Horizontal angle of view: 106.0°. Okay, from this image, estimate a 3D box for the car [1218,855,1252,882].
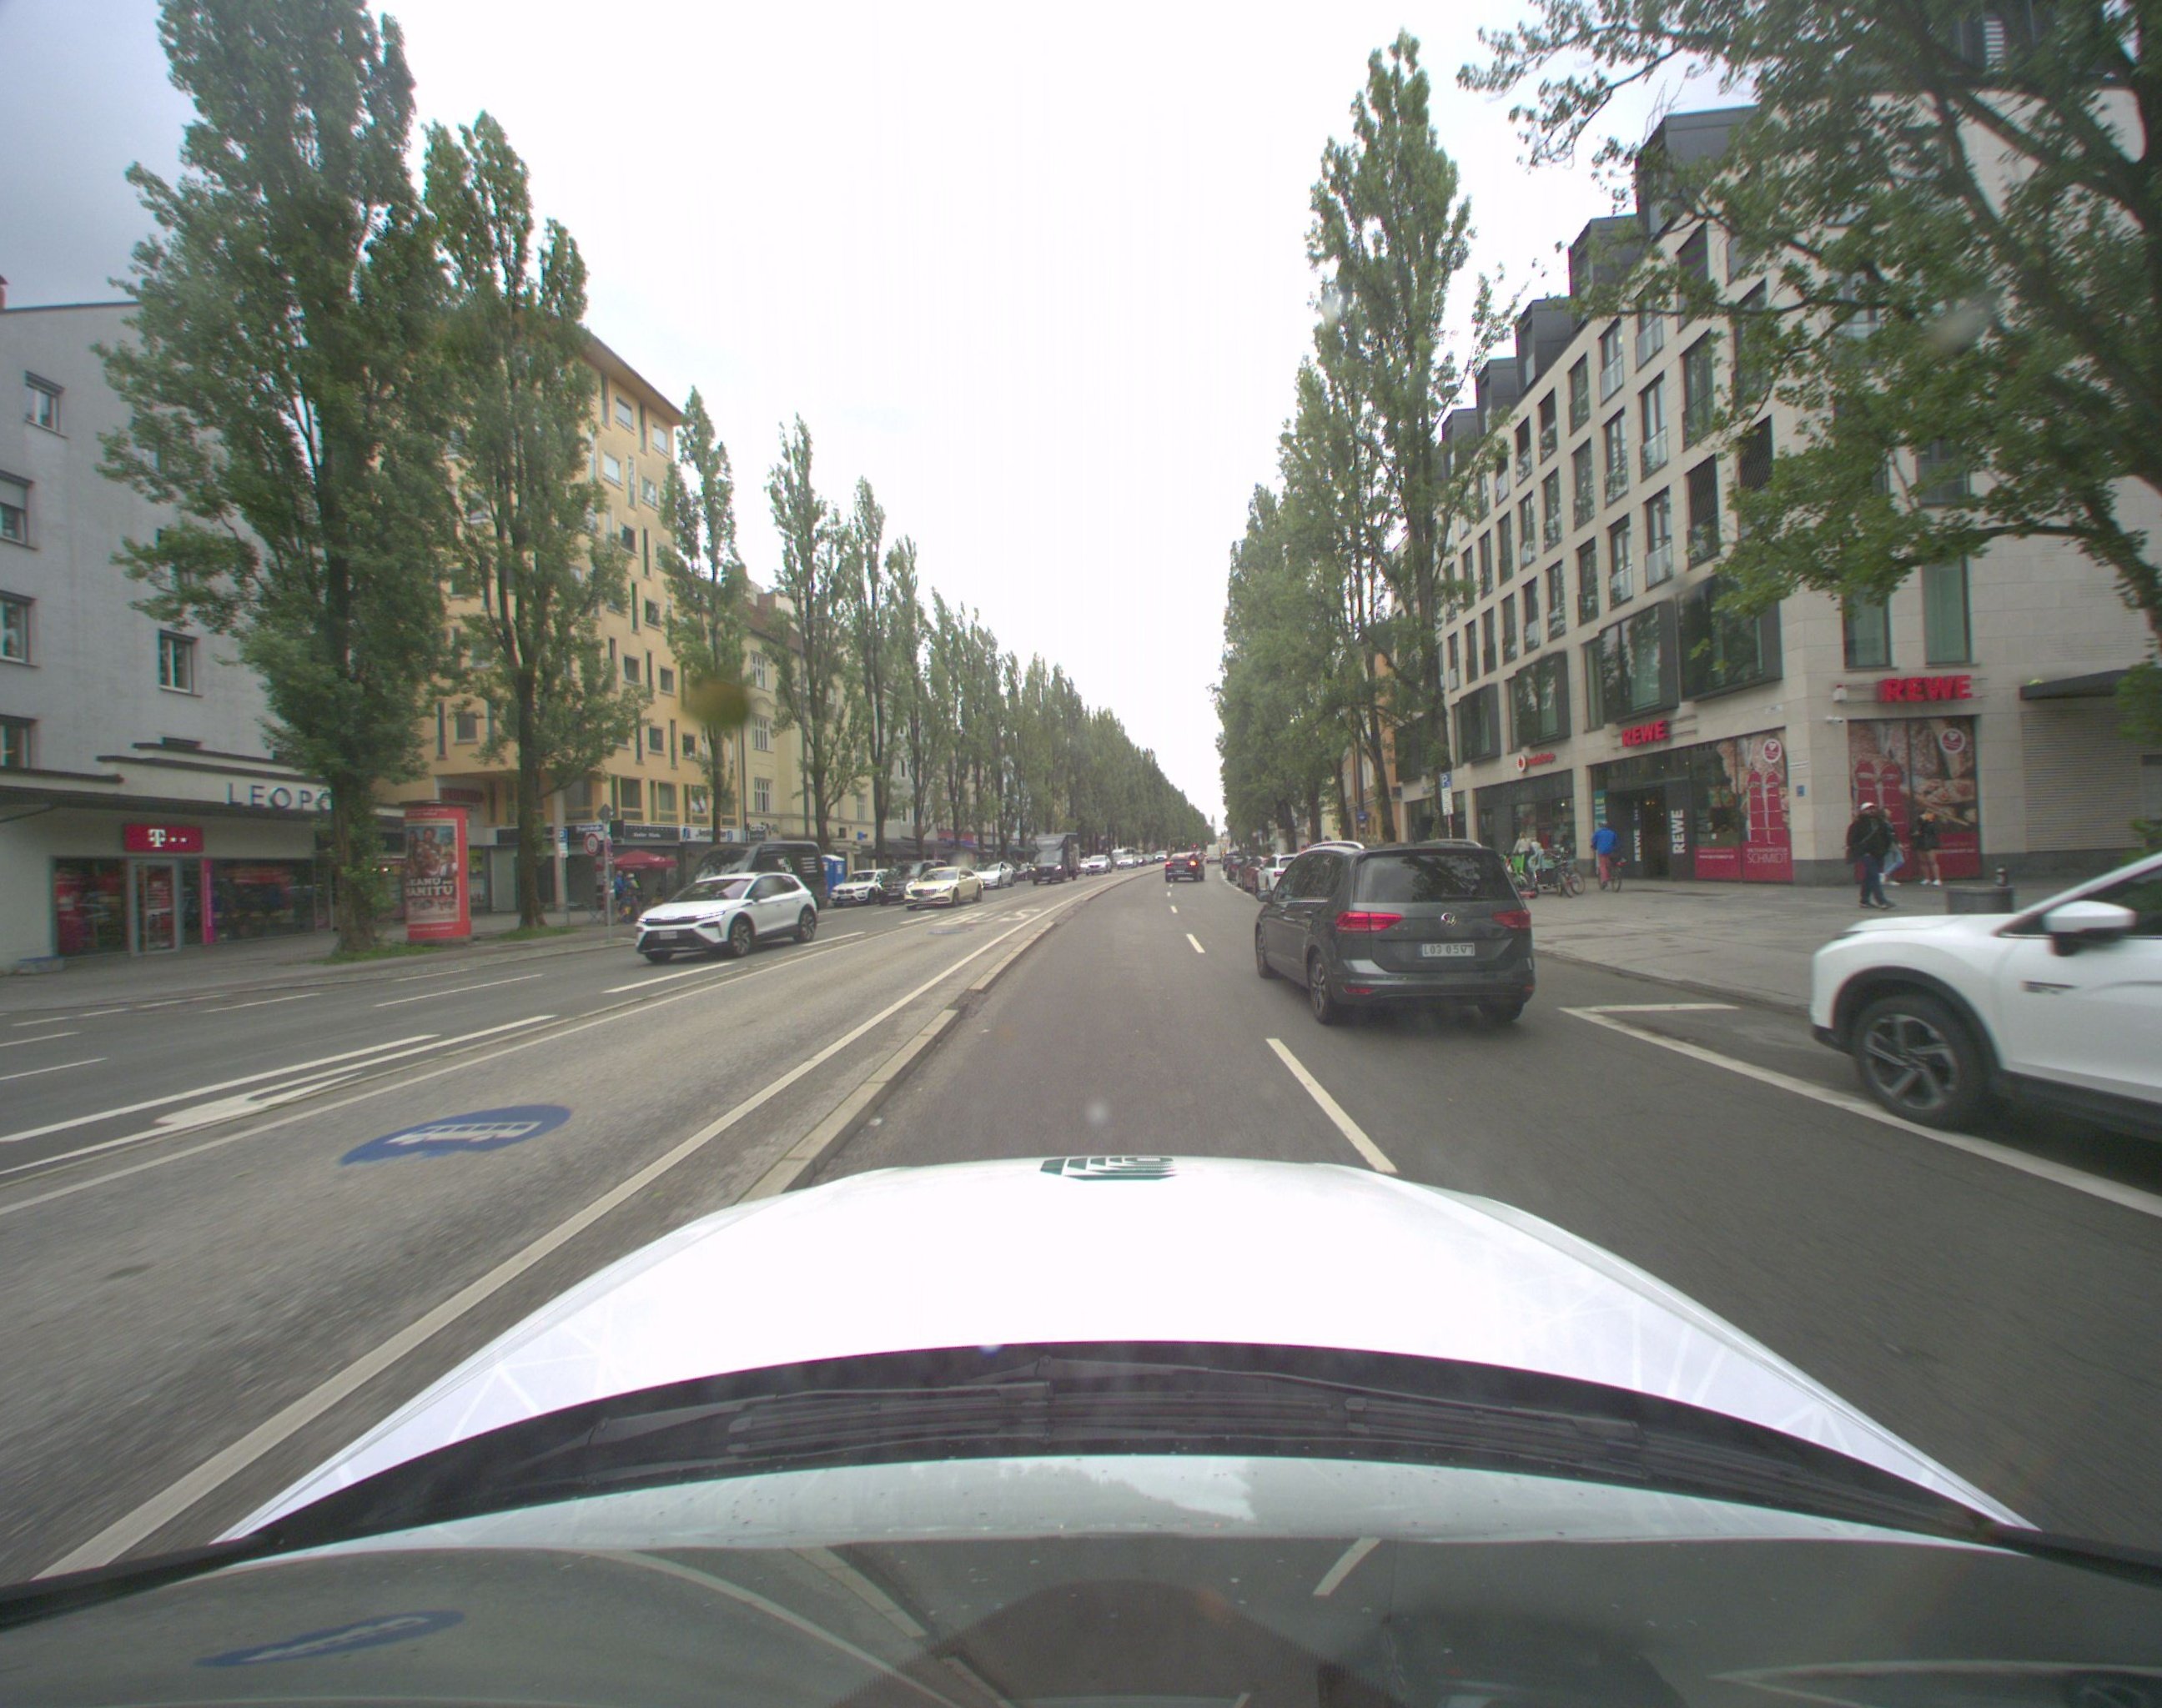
[{"bbox_3d":[8.950,0.789,47.622,1.723,1.394,4.443,-3,0,8],"label":"car"}]

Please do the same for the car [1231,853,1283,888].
[{"bbox_3d":[7.930,0.707,36.978,1.837,1.428,4.434,-2,0,7],"label":"car"}]

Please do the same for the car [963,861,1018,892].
[{"bbox_3d":[-5.411,1.315,49.351,1.981,1.651,4.648,-4,0,9],"label":"car"}]

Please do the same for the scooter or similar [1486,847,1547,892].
[{"bbox_3d":[12.443,0.445,23.310,1.377,1.211,0.555,-3,-1,7],"label":"scooter or similar"}]

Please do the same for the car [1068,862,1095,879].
[{"bbox_3d":[0.099,1.586,80.639,1.928,1.493,4.468,-3,0,9],"label":"car"}]

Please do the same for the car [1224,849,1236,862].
[{"bbox_3d":[24.733,0.258,135.090,1.794,1.992,4.011,-1,-1,10],"label":"car"}]

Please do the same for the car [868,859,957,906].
[{"bbox_3d":[-7.685,1.246,37.783,1.982,1.863,5.726,-4,-1,9],"label":"car"}]

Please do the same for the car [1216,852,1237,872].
[{"bbox_3d":[12.511,0.645,70.055,1.614,1.565,4.383,-3,0,9],"label":"car"}]

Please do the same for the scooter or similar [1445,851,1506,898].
[{"bbox_3d":[10.734,0.561,22.173,1.429,1.201,0.311,-3,-1,0],"label":"scooter or similar"}]

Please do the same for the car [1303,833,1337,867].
[{"bbox_3d":[17.787,-0.297,60.486,1.884,2.328,4.850,-3,0,22],"label":"car"}]

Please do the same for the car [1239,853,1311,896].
[{"bbox_3d":[7.371,0.735,31.390,1.922,1.450,4.809,-3,0,4],"label":"car"}]

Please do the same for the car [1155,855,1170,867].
[{"bbox_3d":[13.902,1.175,138.483,1.981,1.934,4.931,-5,-1,10],"label":"car"}]

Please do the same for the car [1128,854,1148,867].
[{"bbox_3d":[7.268,0.832,103.095,1.981,1.432,4.785,-4,0,10],"label":"car"}]

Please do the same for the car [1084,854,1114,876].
[{"bbox_3d":[1.627,0.911,70.848,1.849,1.711,4.548,-4,0,10],"label":"car"}]

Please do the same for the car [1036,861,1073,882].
[{"bbox_3d":[-2.045,1.377,64.682,1.927,1.434,4.551,-3,0,10],"label":"car"}]

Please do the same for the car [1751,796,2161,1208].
[{"bbox_3d":[5.255,0.581,3.146,1.721,1.686,4.408,-2,0,1],"label":"car"}]

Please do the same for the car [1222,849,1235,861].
[{"bbox_3d":[21.302,0.158,117.748,1.794,1.596,4.011,-3,0,10],"label":"car"}]

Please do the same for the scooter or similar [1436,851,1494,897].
[{"bbox_3d":[10.760,0.563,22.833,1.429,1.201,0.311,-3,-1,0],"label":"scooter or similar"}]

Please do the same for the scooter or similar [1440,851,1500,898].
[{"bbox_3d":[10.743,0.558,22.498,1.429,1.201,0.311,-3,-1,0],"label":"scooter or similar"}]

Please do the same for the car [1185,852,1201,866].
[{"bbox_3d":[13.553,0.635,98.486,1.748,1.619,3.757,-1,-1,10],"label":"car"}]

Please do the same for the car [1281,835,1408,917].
[{"bbox_3d":[6.123,0.506,19.496,1.915,1.700,4.657,-1,-1,6],"label":"car"}]

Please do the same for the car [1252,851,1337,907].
[{"bbox_3d":[6.605,0.709,25.669,1.801,1.500,4.814,-3,0,6],"label":"car"}]

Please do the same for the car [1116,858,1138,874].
[{"bbox_3d":[5.206,1.362,92.454,1.928,1.642,4.475,-3,0,9],"label":"car"}]

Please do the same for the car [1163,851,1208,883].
[{"bbox_3d":[6.112,0.712,47.129,1.867,1.642,4.602,-3,0,15],"label":"car"}]

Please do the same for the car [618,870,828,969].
[{"bbox_3d":[-7.107,1.221,16.780,1.899,1.603,4.364,-3,0,7],"label":"car"}]

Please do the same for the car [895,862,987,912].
[{"bbox_3d":[-5.317,1.223,31.789,1.983,1.589,5.206,-4,0,7],"label":"car"}]

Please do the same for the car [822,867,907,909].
[{"bbox_3d":[-9.965,1.536,37.894,1.980,1.629,4.395,-3,0,11],"label":"car"}]

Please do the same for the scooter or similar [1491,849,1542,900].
[{"bbox_3d":[11.043,0.512,20.660,1.046,1.226,0.380,-3,-1,1],"label":"scooter or similar"}]

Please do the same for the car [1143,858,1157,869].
[{"bbox_3d":[9.703,1.383,114.524,1.701,1.414,3.732,-3,0,9],"label":"car"}]

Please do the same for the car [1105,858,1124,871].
[{"bbox_3d":[4.314,1.301,104.282,1.837,1.564,4.223,-3,-1,10],"label":"car"}]

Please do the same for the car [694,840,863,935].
[{"bbox_3d":[-9.380,0.945,26.045,2.156,2.605,6.081,-3,0,10],"label":"car"}]

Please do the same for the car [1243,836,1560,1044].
[{"bbox_3d":[2.973,0.697,8.599,1.755,1.614,4.185,-2,0,1],"label":"car"}]
